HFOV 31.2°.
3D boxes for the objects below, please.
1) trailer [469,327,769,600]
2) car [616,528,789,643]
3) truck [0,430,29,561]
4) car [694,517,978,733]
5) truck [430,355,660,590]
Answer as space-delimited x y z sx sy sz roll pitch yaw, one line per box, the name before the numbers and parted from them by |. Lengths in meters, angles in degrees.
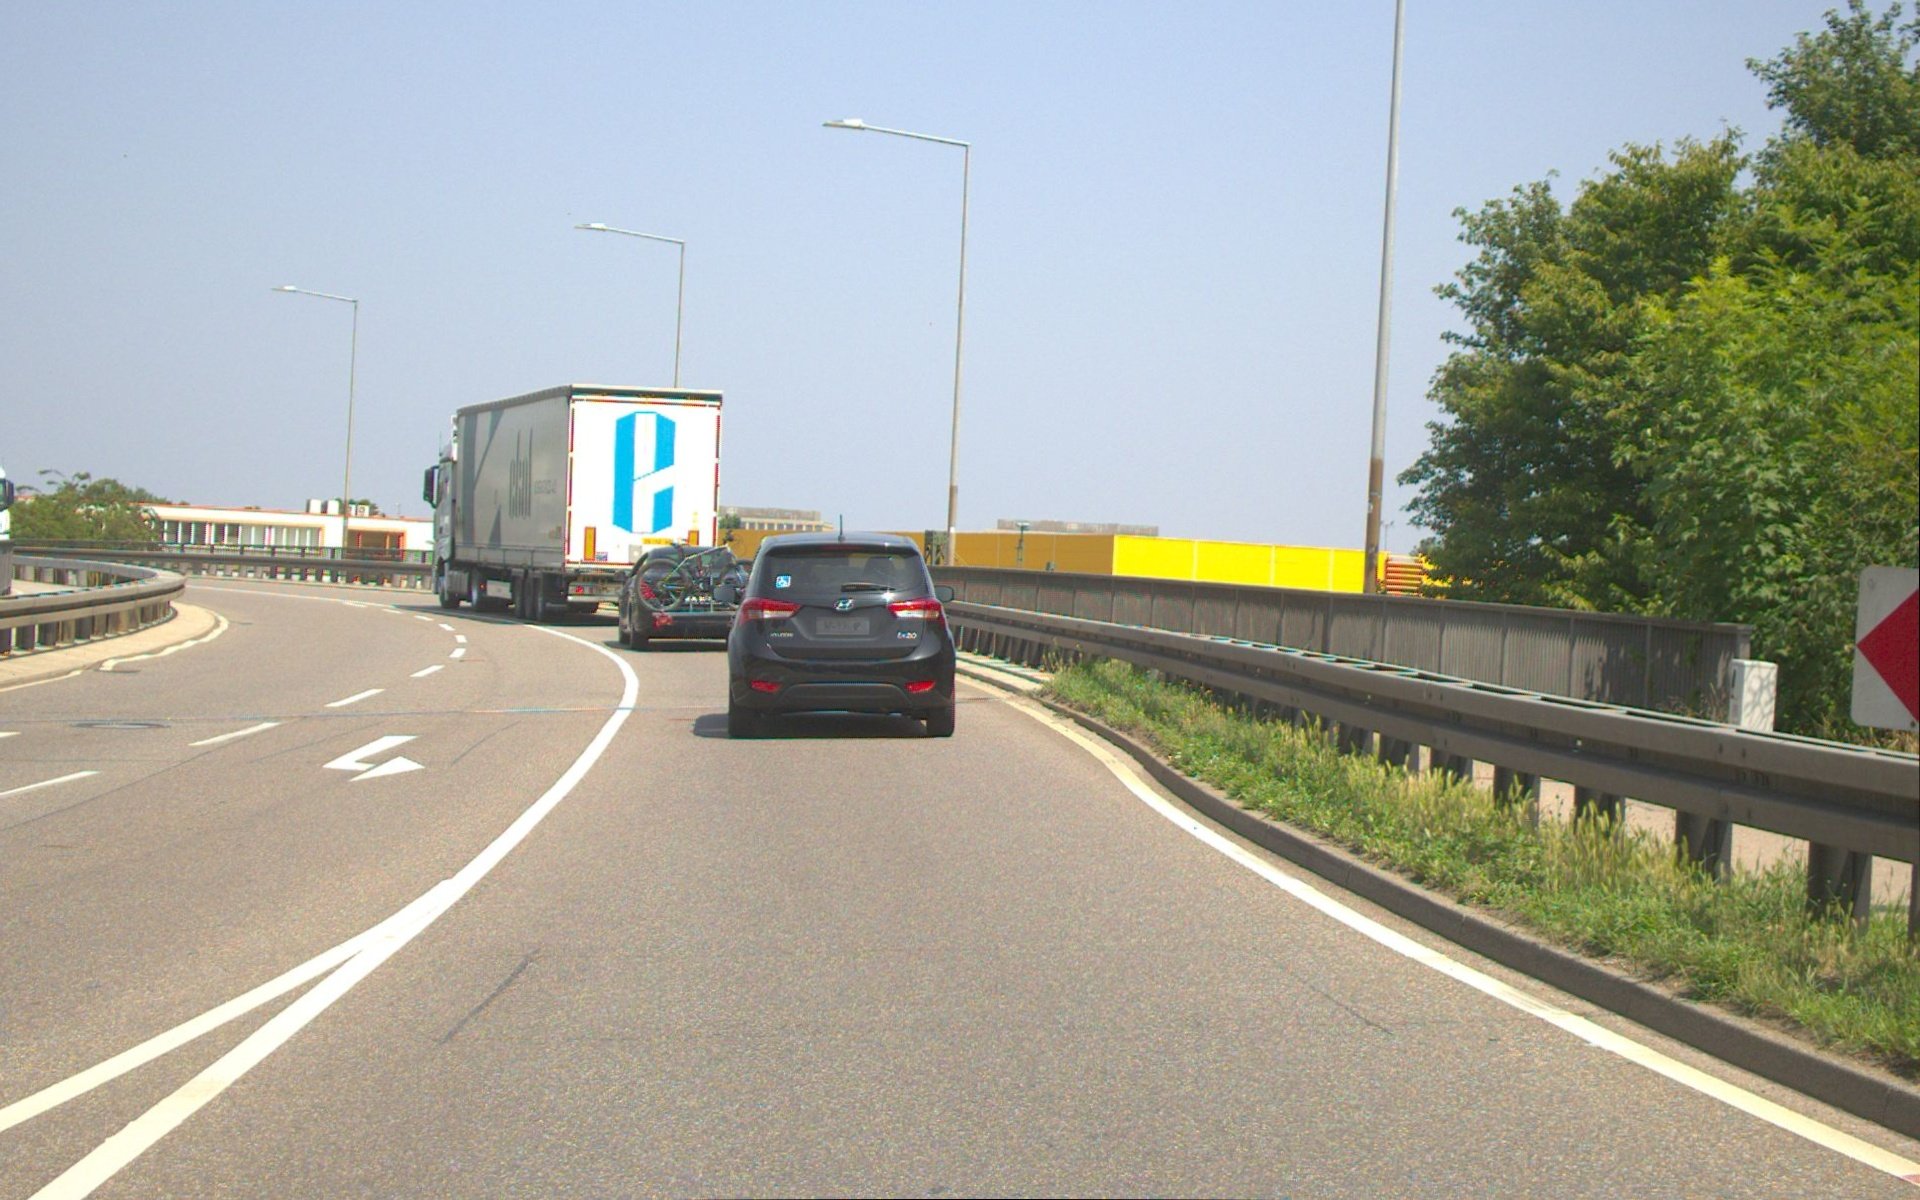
trailer | -6.395 -2.404 62.151 3.568 4.369 11.445 1 1 -15
car | -3.545 -0.231 46.807 2.011 1.424 3.778 2 1 -9
truck | -31.563 -3.320 106.798 2.706 3.978 6.184 1 2 -39
car | -1.082 0.145 27.824 1.921 1.568 3.892 2 1 -7
truck | -8.478 -2.539 69.475 3.571 4.425 6.517 1 1 -15
